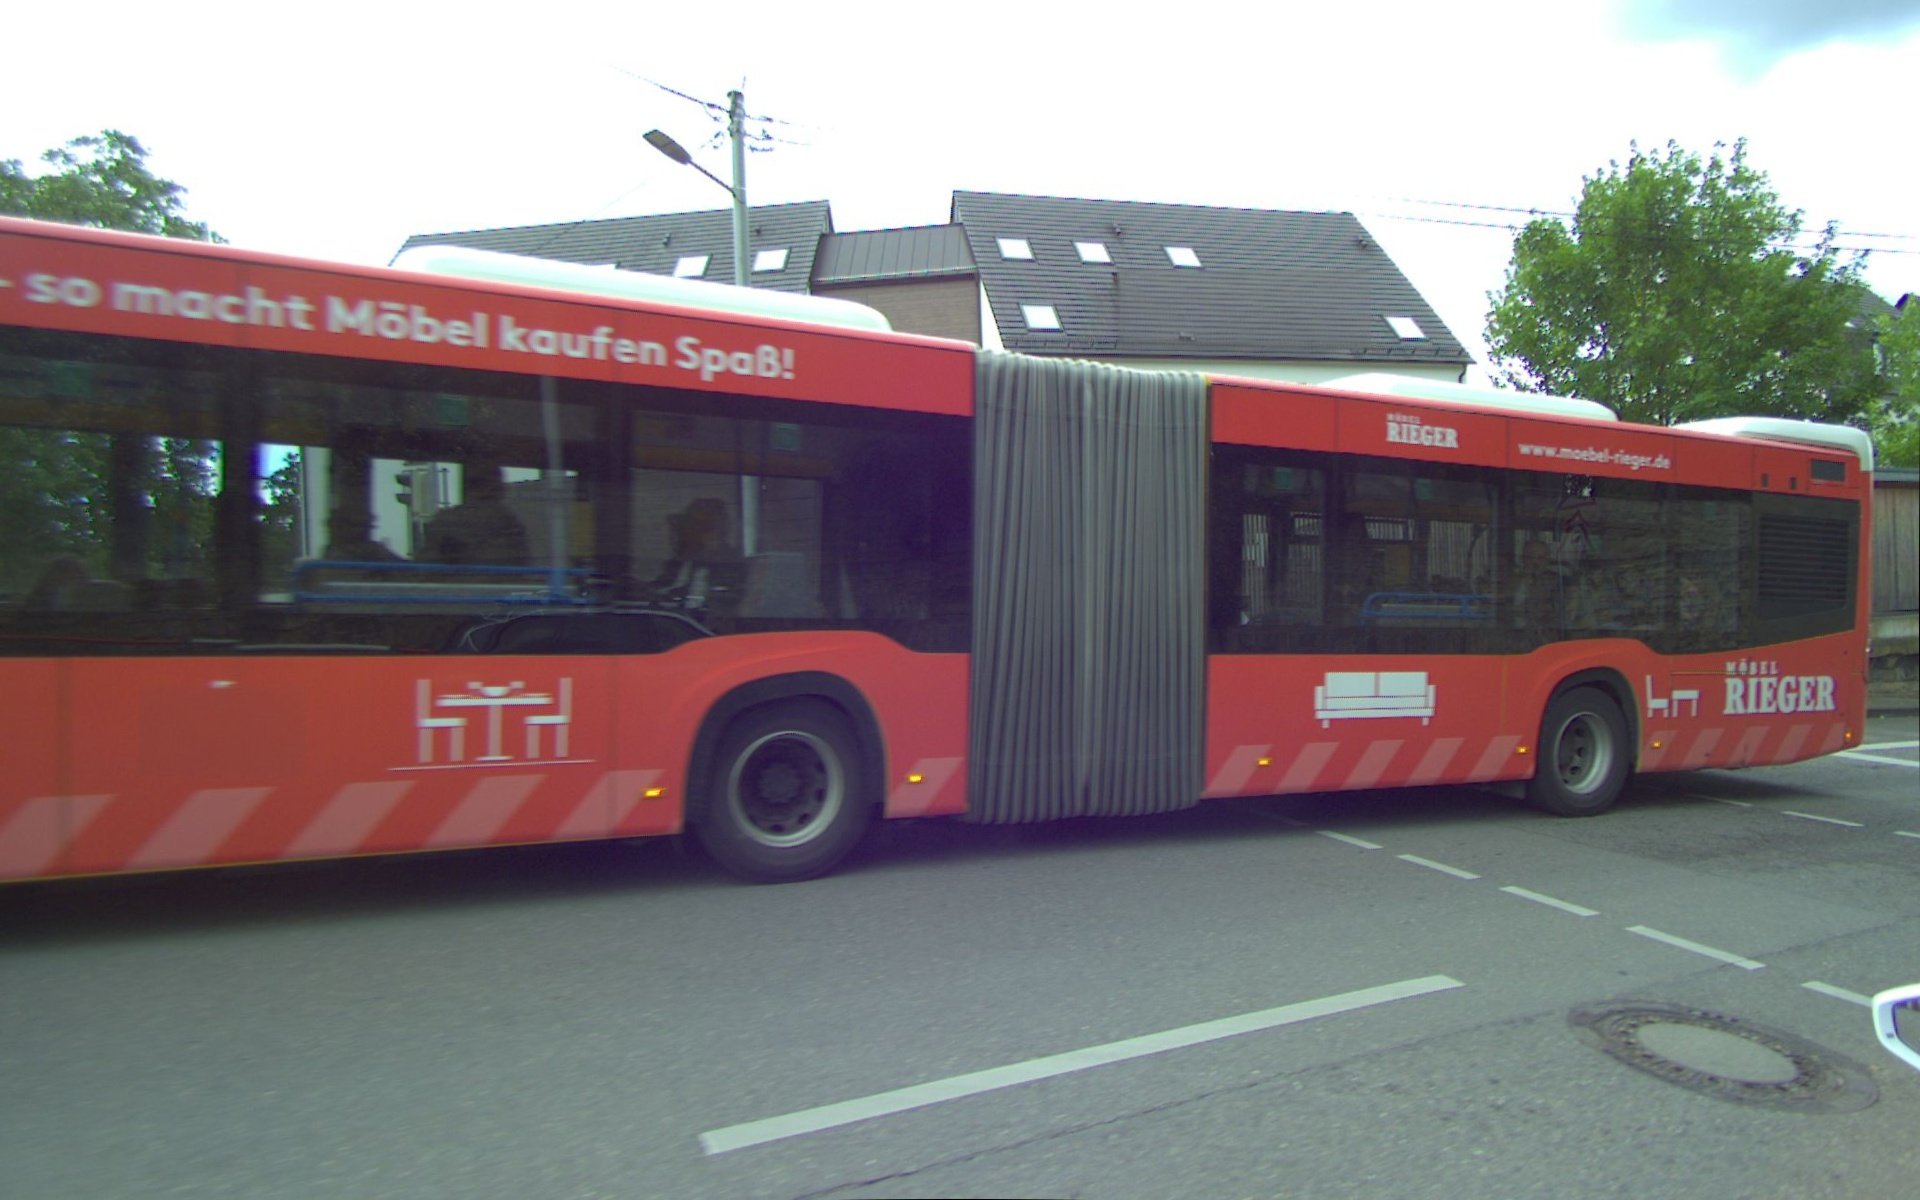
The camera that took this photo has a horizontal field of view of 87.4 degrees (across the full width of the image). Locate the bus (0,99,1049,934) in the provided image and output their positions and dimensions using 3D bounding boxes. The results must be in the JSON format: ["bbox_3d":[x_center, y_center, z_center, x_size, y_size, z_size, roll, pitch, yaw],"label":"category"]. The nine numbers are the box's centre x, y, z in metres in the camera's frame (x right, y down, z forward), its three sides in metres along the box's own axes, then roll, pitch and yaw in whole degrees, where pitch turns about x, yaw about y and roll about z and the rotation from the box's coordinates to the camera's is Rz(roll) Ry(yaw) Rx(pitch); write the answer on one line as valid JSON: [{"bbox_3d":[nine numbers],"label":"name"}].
[{"bbox_3d":[-4.579,-0.327,4.848,9.875,3.163,2.652,1,0,-23],"label":"bus"}]

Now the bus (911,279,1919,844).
[{"bbox_3d":[3.903,-0.134,8.331,8.168,3.163,2.653,1,0,-21],"label":"bus"}]
